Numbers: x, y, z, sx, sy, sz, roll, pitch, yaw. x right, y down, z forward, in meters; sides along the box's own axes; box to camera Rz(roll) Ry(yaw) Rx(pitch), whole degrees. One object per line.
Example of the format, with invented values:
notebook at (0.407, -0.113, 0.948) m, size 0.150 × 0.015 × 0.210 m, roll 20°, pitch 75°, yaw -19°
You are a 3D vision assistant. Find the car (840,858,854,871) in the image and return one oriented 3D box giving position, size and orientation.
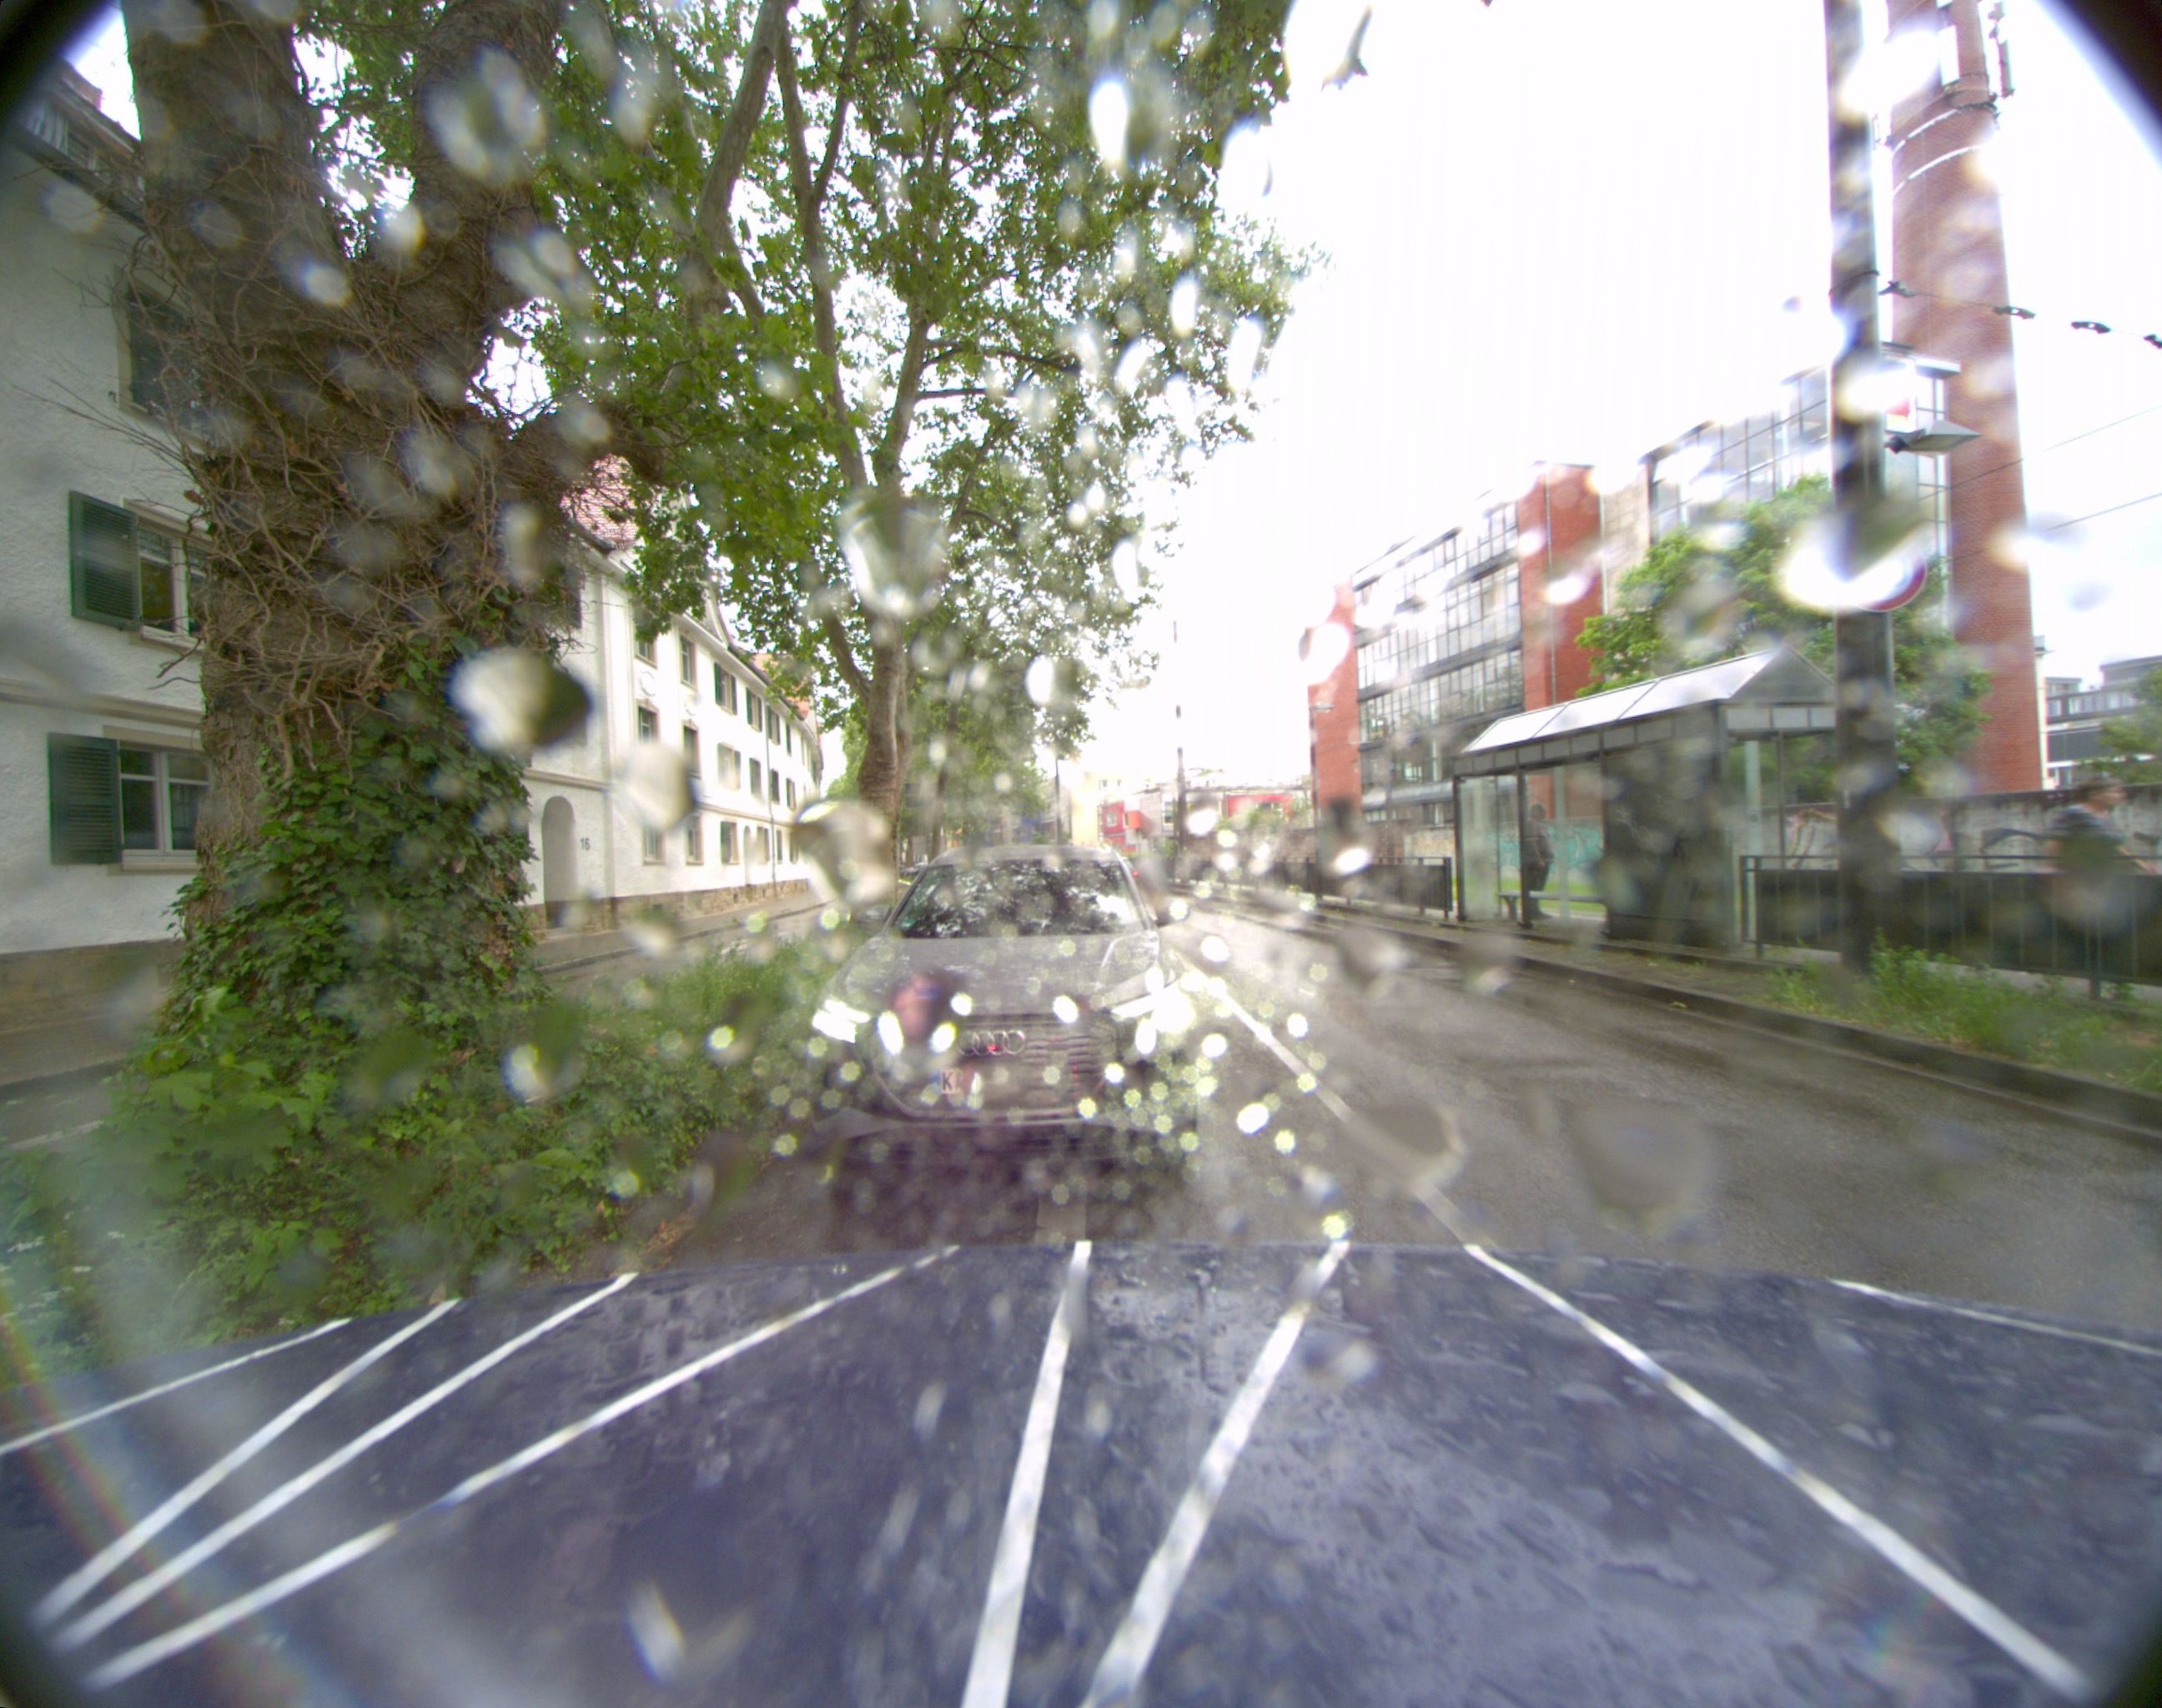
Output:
car at (-38.997, 1.707, 126.572) m, size 2.002 × 2.001 × 3.993 m, roll 3°, pitch -1°, yaw -20°

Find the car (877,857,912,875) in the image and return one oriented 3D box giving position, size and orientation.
car at (-23.212, 1.497, 94.661) m, size 4.002 × 2.002 × 1.997 m, roll -2°, pitch 0°, yaw -17°

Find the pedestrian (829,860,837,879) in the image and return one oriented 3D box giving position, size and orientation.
pedestrian at (-24.664, 1.549, 75.498) m, size 0.674 × 1.811 × 0.678 m, roll -3°, pitch 1°, yaw -18°

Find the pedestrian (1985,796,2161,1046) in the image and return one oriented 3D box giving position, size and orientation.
pedestrian at (7.991, 0.473, 5.952) m, size 0.828 × 1.794 × 0.843 m, roll -3°, pitch 1°, yaw -10°

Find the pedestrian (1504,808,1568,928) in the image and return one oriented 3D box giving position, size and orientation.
pedestrian at (6.773, 0.201, 11.334) m, size 0.629 × 1.738 × 0.514 m, roll -2°, pitch 1°, yaw 9°

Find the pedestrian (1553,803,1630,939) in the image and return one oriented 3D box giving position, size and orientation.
pedestrian at (6.733, 0.217, 10.047) m, size 0.629 × 1.738 × 0.564 m, roll -2°, pitch 1°, yaw 9°

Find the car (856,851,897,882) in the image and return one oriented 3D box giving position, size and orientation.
car at (-16.199, 0.962, 60.055) m, size 2.199 × 2.250 × 5.401 m, roll -3°, pitch 0°, yaw -24°

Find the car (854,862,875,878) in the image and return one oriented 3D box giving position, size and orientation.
car at (-22.624, 1.679, 79.445) m, size 1.834 × 1.517 × 3.993 m, roll -3°, pitch 1°, yaw -19°

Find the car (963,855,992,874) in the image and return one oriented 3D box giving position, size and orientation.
car at (-9.810, 1.011, 71.572) m, size 1.810 × 1.673 × 4.596 m, roll -3°, pitch 0°, yaw -18°

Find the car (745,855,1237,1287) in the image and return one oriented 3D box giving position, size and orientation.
car at (-0.413, 0.872, 5.122) m, size 1.917 × 1.632 × 4.106 m, roll -2°, pitch 0°, yaw -2°

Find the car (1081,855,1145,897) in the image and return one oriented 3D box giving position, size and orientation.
car at (1.167, 0.806, 29.674) m, size 1.719 × 1.451 × 3.744 m, roll -2°, pitch 1°, yaw -9°

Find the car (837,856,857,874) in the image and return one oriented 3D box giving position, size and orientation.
car at (-28.451, 1.302, 92.327) m, size 2.002 × 2.001 × 3.993 m, roll 3°, pitch -1°, yaw -20°
